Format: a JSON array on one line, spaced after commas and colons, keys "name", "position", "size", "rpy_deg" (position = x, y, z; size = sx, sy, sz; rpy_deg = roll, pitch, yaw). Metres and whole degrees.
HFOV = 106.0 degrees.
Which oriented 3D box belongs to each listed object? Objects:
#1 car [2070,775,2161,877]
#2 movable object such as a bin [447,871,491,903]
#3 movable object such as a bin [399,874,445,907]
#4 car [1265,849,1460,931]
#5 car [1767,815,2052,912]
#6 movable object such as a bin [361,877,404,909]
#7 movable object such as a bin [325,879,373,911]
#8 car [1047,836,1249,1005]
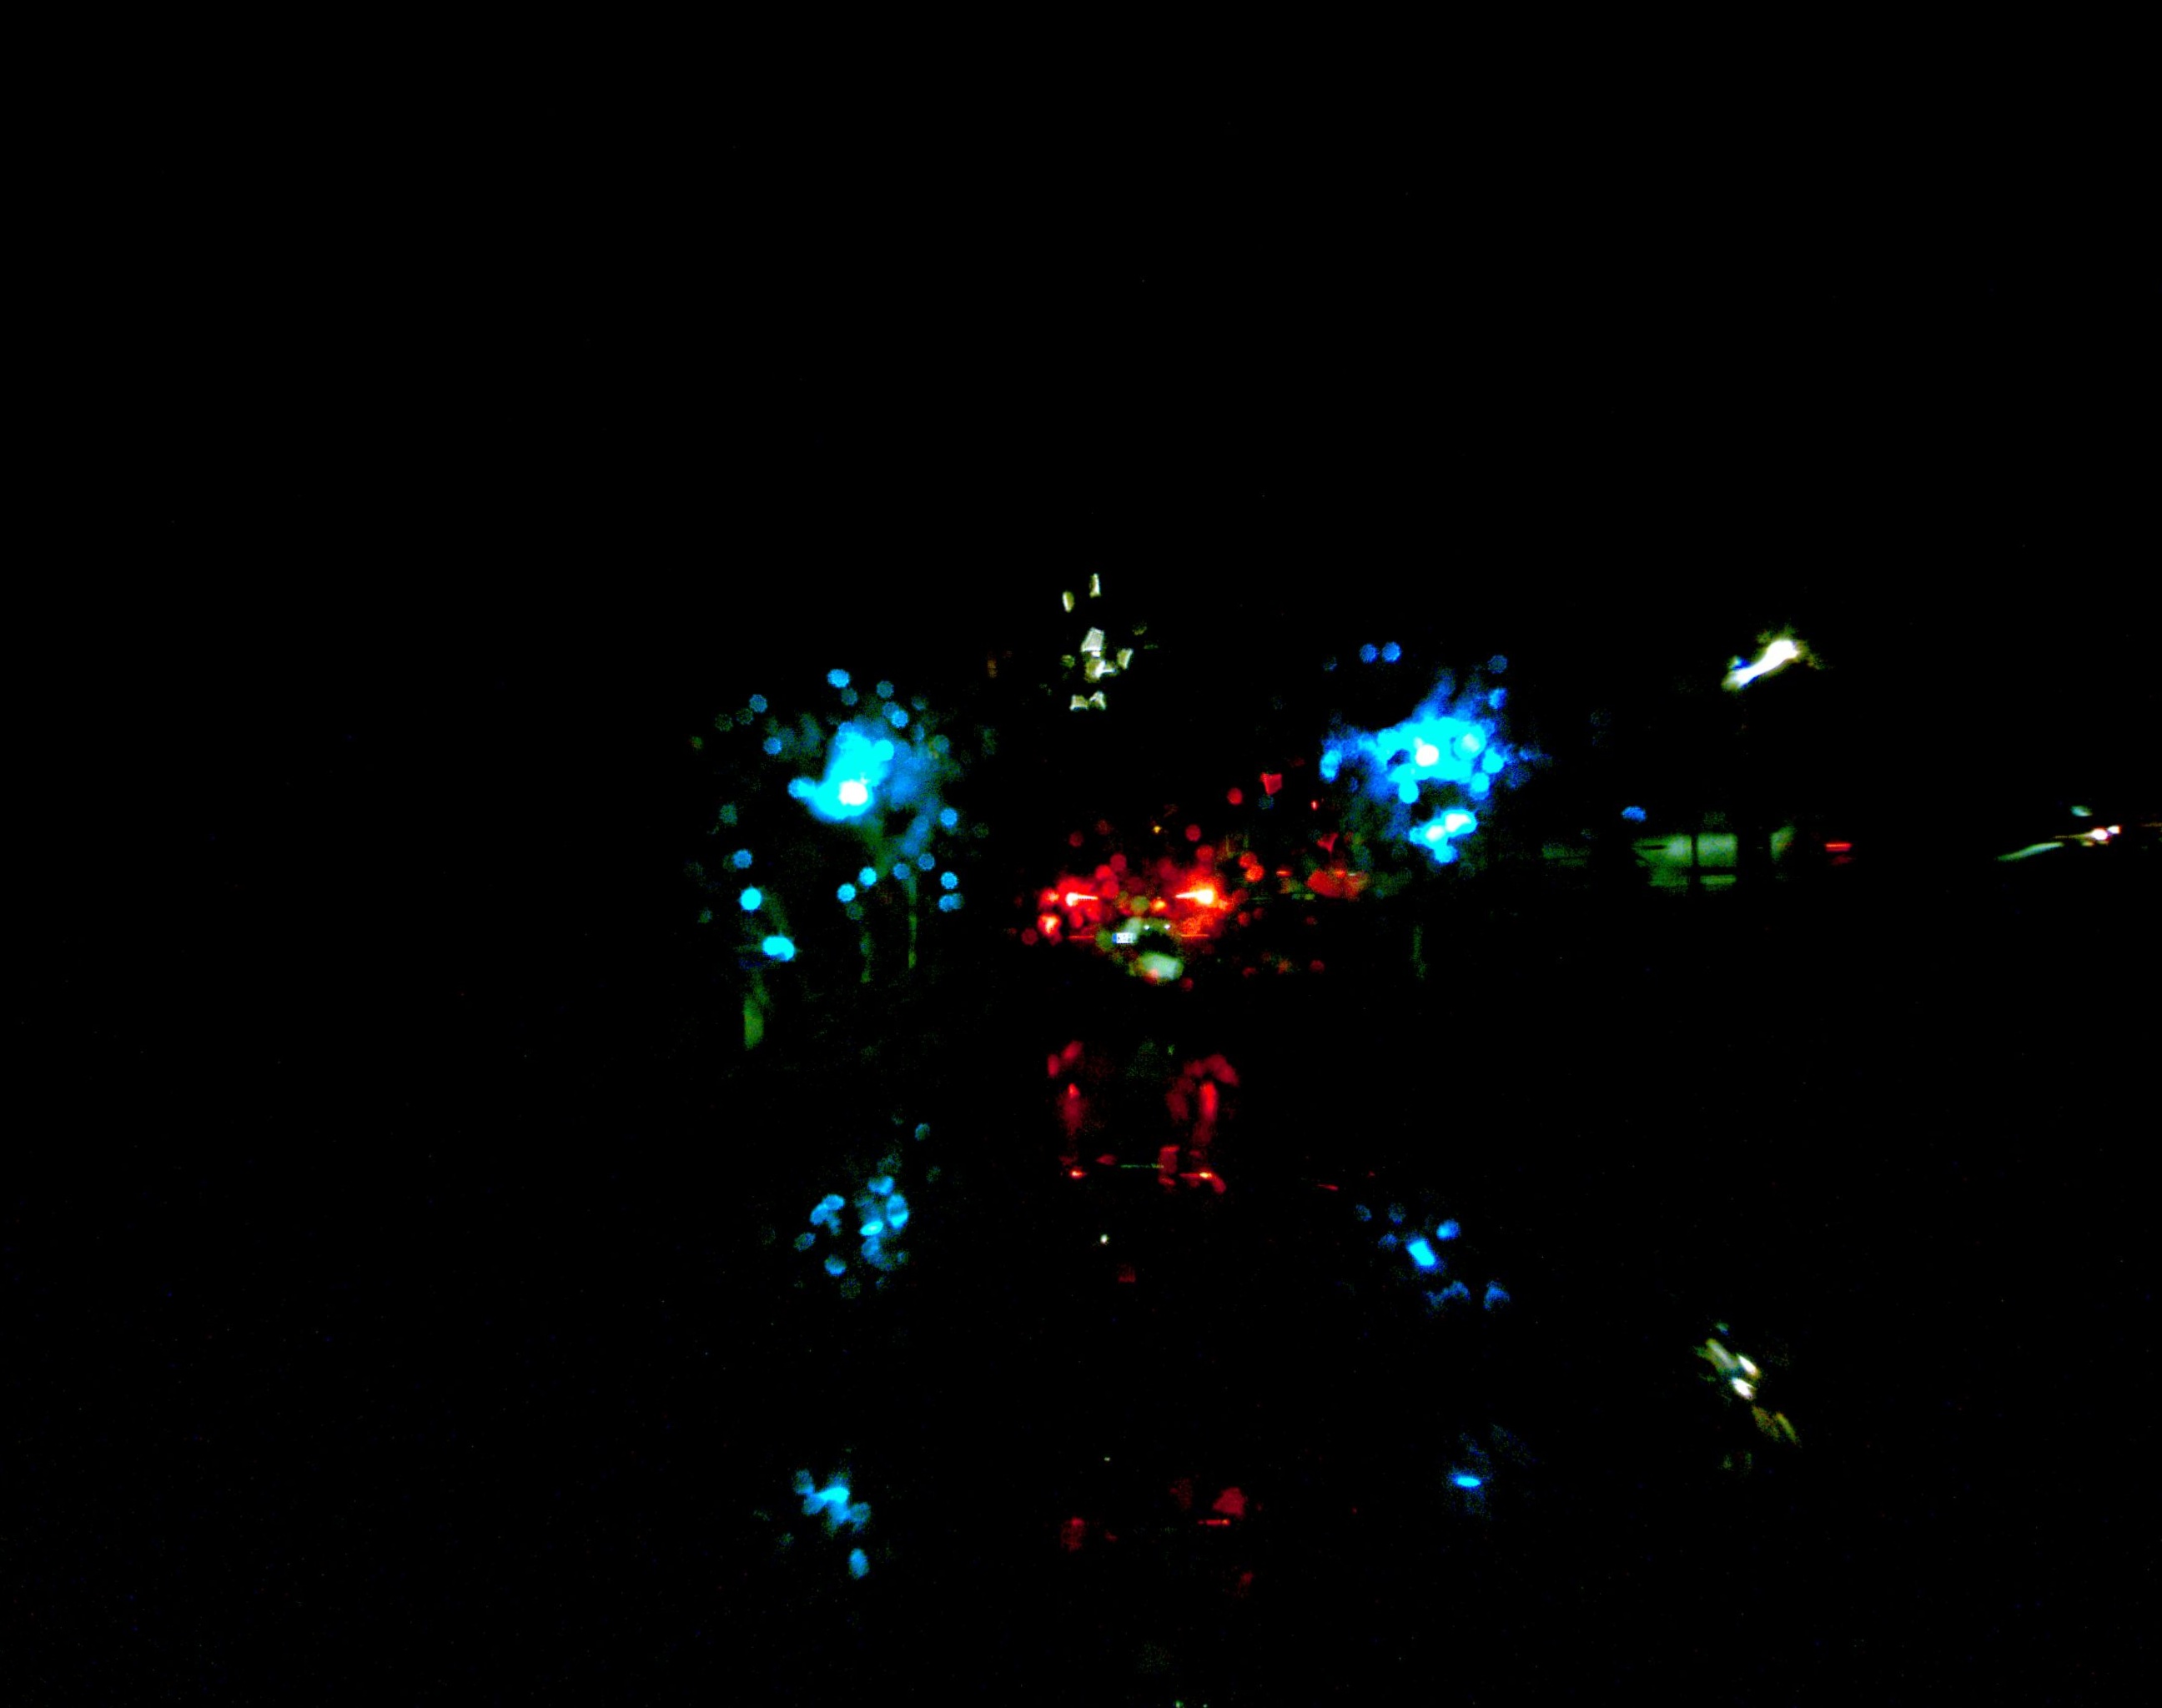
[{"name": "car", "position": [28.408, -0.637, 20.177], "size": [4.819, 2.442, 2.179], "rpy_deg": [0, -1, 6]}, {"name": "movable object such as a bin", "position": [-27.936, 1.491, 37.205], "size": [1.320, 1.298, 1.241], "rpy_deg": [-3, 4, -24]}, {"name": "movable object such as a bin", "position": [-29.486, 1.621, 36.461], "size": [1.395, 1.413, 1.239], "rpy_deg": [-1, 0, -29]}, {"name": "car", "position": [6.061, 0.679, 17.366], "size": [4.261, 1.510, 1.894], "rpy_deg": [-1, 0, -38]}, {"name": "car", "position": [18.139, 0.210, 18.025], "size": [4.217, 1.947, 1.780], "rpy_deg": [-1, 0, 7]}, {"name": "movable object such as a bin", "position": [-30.723, 1.698, 35.839], "size": [1.236, 1.325, 1.142], "rpy_deg": [-1, 0, -29]}, {"name": "movable object such as a bin", "position": [-31.961, 1.771, 35.576], "size": [1.327, 1.309, 1.165], "rpy_deg": [-1, 1, -32]}, {"name": "car", "position": [0.977, 0.695, 10.452], "size": [2.046, 1.678, 4.148], "rpy_deg": [1, -1, 8]}]
